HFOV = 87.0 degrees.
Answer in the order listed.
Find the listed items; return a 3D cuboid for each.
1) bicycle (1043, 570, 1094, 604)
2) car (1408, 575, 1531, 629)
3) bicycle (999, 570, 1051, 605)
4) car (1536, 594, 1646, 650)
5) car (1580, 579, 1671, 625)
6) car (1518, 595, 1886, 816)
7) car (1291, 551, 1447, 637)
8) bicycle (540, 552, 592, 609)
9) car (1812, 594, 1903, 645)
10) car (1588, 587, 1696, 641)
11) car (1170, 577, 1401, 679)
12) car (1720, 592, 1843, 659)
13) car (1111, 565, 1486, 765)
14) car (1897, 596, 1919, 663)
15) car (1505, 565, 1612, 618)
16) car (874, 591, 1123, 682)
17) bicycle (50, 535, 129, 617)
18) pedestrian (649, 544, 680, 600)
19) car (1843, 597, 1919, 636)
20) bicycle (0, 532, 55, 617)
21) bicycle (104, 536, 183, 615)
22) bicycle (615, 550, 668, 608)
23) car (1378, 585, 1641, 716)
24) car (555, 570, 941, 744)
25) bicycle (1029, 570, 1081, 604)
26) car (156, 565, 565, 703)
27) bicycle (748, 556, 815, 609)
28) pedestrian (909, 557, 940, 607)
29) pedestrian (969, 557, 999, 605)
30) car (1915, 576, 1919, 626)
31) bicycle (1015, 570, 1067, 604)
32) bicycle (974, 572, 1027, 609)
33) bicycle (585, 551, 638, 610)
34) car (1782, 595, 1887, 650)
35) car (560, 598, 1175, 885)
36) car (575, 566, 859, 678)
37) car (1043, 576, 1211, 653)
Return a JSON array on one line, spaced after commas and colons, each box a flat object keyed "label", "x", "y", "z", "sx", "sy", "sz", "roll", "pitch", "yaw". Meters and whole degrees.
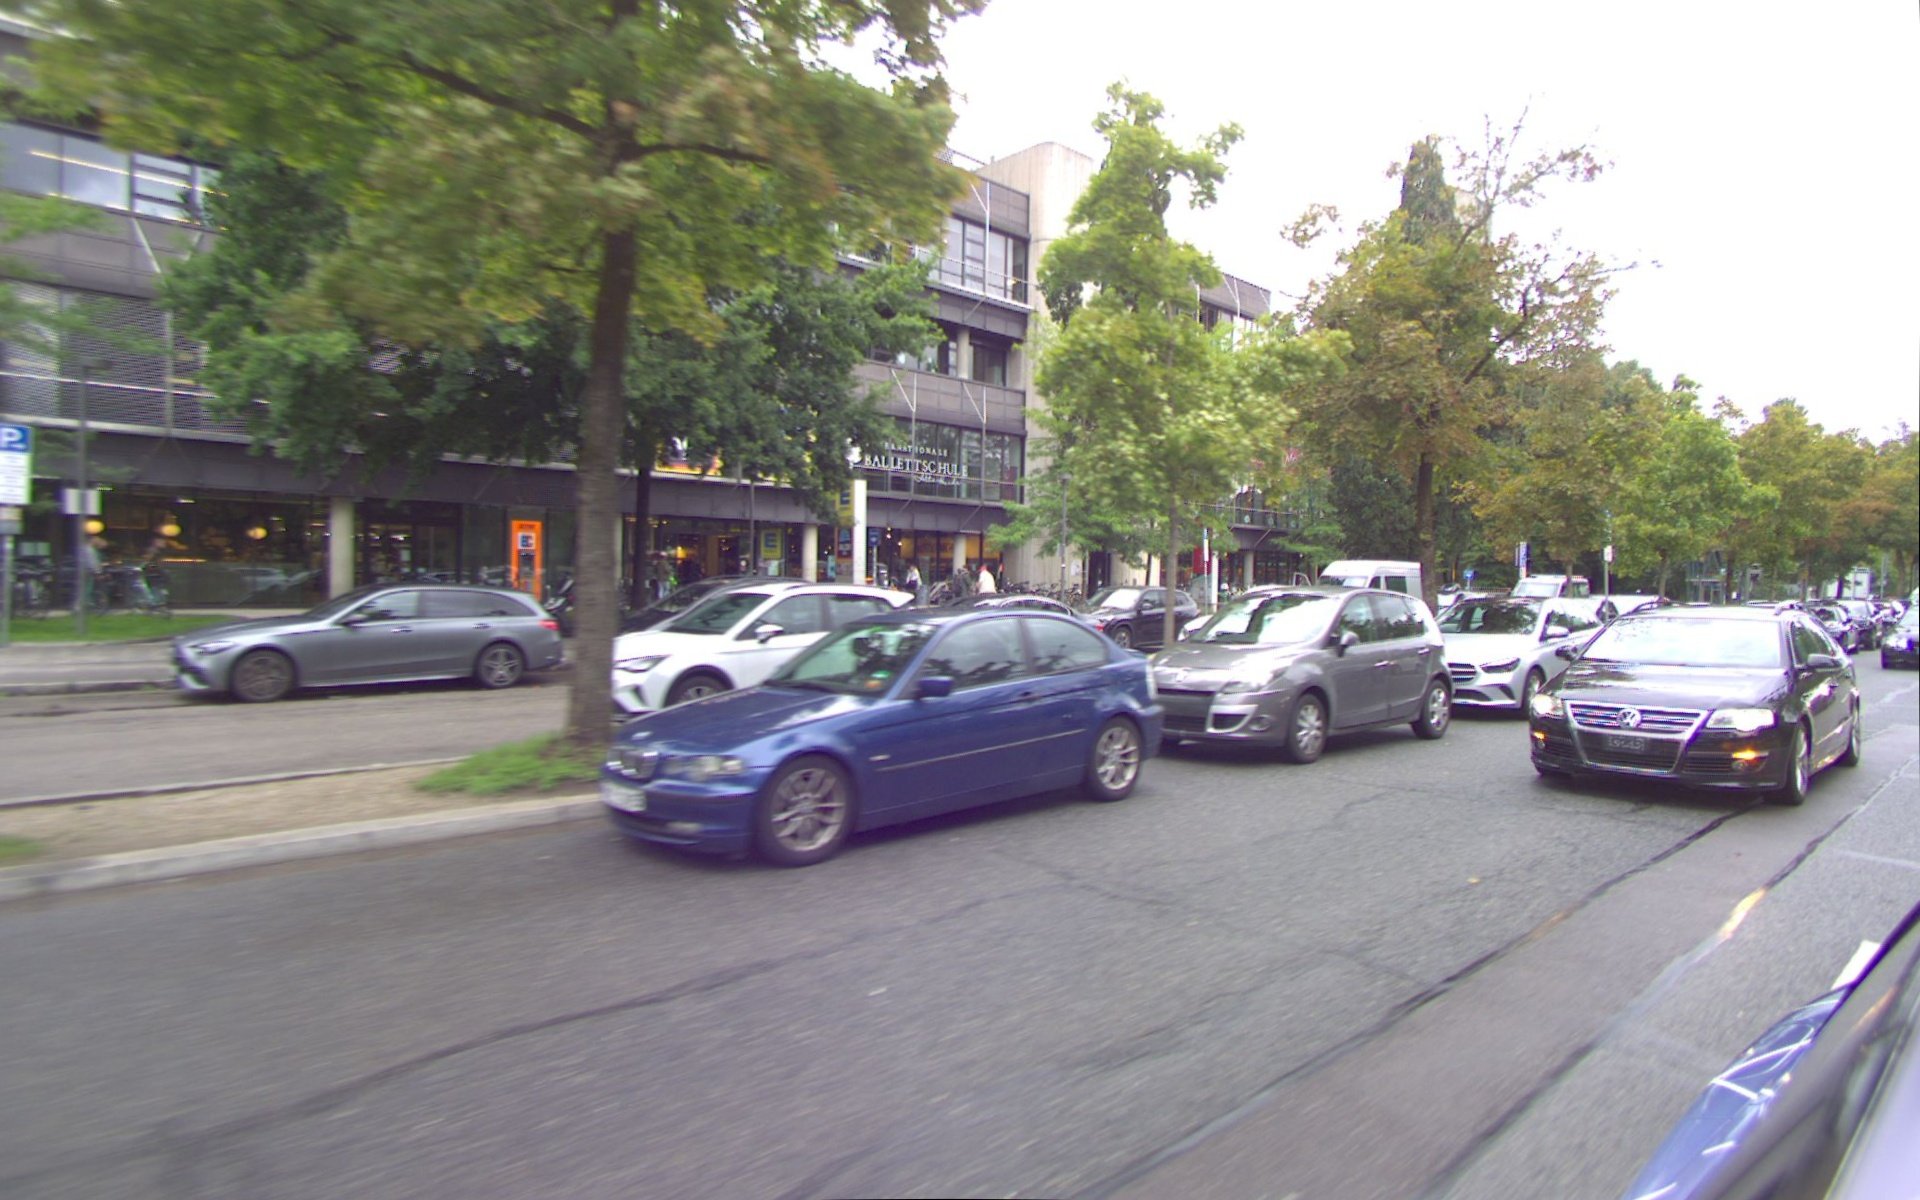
[{"label": "bicycle", "x": 4.409, "y": -0.540, "z": 41.309, "sx": 0.637, "sy": 1.318, "sz": 2.313, "roll": 0, "pitch": 1, "yaw": -39}, {"label": "car", "x": 18.942, "y": 0.057, "z": 37.520, "sx": 5.087, "sy": 1.834, "sz": 2.267, "roll": 0, "pitch": 1, "yaw": -41}, {"label": "bicycle", "x": 2.529, "y": -0.521, "z": 39.673, "sx": 0.637, "sy": 1.318, "sz": 2.313, "roll": 0, "pitch": 1, "yaw": -39}, {"label": "car", "x": 17.557, "y": 0.560, "z": 28.114, "sx": 3.386, "sy": 1.450, "sz": 1.719, "roll": 0, "pitch": 0, "yaw": -41}, {"label": "car", "x": 33.068, "y": 0.057, "z": 50.187, "sx": 5.755, "sy": 2.130, "sz": 2.267, "roll": 0, "pitch": 1, "yaw": -41}, {"label": "car", "x": 6.573, "y": 0.684, "z": 8.766, "sx": 4.366, "sy": 1.450, "sz": 1.733, "roll": 0, "pitch": 0, "yaw": -42}, {"label": "car", "x": 13.287, "y": -0.212, "z": 32.673, "sx": 5.755, "sy": 2.560, "sz": 2.267, "roll": 0, "pitch": 1, "yaw": -41}, {"label": "bicycle", "x": -11.080, "y": -0.565, "z": 28.412, "sx": 0.638, "sy": 1.551, "sz": 2.312, "roll": 0, "pitch": 1, "yaw": -40}, {"label": "car", "x": 29.043, "y": 0.579, "z": 32.715, "sx": 4.366, "sy": 1.535, "sz": 1.733, "roll": 0, "pitch": 0, "yaw": -42}, {"label": "car", "x": 21.233, "y": 0.391, "z": 31.456, "sx": 3.984, "sy": 1.562, "sz": 1.825, "roll": 0, "pitch": 0, "yaw": -41}, {"label": "car", "x": 5.953, "y": 0.432, "z": 18.167, "sx": 4.792, "sy": 1.611, "sz": 1.824, "roll": 0, "pitch": 0, "yaw": -42}, {"label": "car", "x": 20.512, "y": 0.574, "z": 25.208, "sx": 4.366, "sy": 1.526, "sz": 1.733, "roll": 0, "pitch": 0, "yaw": -42}, {"label": "car", "x": 3.657, "y": 0.557, "z": 10.509, "sx": 4.387, "sy": 1.662, "sz": 1.684, "roll": 0, "pitch": -1, "yaw": -41}, {"label": "car", "x": 22.650, "y": 0.633, "z": 22.895, "sx": 4.386, "sy": 1.431, "sz": 1.761, "roll": 0, "pitch": 0, "yaw": -42}, {"label": "car", "x": 25.857, "y": -0.381, "z": 43.629, "sx": 5.755, "sy": 2.130, "sz": 2.267, "roll": 0, "pitch": 1, "yaw": -41}, {"label": "car", "x": 0.753, "y": 0.537, "z": 17.593, "sx": 4.274, "sy": 1.397, "sz": 1.725, "roll": 0, "pitch": 0, "yaw": -40}, {"label": "bicycle", "x": -18.270, "y": -0.525, "z": 21.223, "sx": 2.298, "sy": 1.643, "sz": 0.642, "roll": 2, "pitch": 1, "yaw": 33}, {"label": "pedestrian", "x": -9.934, "y": -0.939, "z": 34.013, "sx": 0.720, "sy": 1.826, "sz": 0.664, "roll": 3, "pitch": 3, "yaw": 18}, {"label": "car", "x": 34.005, "y": 0.570, "z": 37.303, "sx": 4.029, "sy": 1.379, "sz": 1.733, "roll": 0, "pitch": 0, "yaw": -42}, {"label": "bicycle", "x": -19.040, "y": -0.520, "z": 20.369, "sx": 2.298, "sy": 1.643, "sz": 0.642, "roll": 2, "pitch": 1, "yaw": 33}, {"label": "bicycle", "x": -17.574, "y": -0.540, "z": 21.761, "sx": 2.298, "sy": 1.643, "sz": 0.642, "roll": 2, "pitch": 1, "yaw": 33}, {"label": "bicycle", "x": -9.338, "y": -0.633, "z": 29.621, "sx": 0.638, "sy": 1.643, "sz": 2.312, "roll": 0, "pitch": 1, "yaw": -40}, {"label": "car", "x": 7.685, "y": 0.604, "z": 13.975, "sx": 4.386, "sy": 1.542, "sz": 1.685, "roll": 0, "pitch": -1, "yaw": -40}, {"label": "car", "x": -2.152, "y": 0.499, "z": 10.928, "sx": 3.813, "sy": 1.538, "sz": 1.651, "roll": 0, "pitch": 0, "yaw": -44}, {"label": "bicycle", "x": 3.829, "y": -0.530, "z": 40.818, "sx": 0.637, "sy": 1.318, "sz": 2.313, "roll": 0, "pitch": 1, "yaw": -39}, {"label": "car", "x": -8.047, "y": 0.389, "z": 13.906, "sx": 4.527, "sy": 1.550, "sz": 1.823, "roll": 1, "pitch": 2, "yaw": -45}, {"label": "bicycle", "x": -5.820, "y": -0.581, "z": 32.933, "sx": 2.298, "sy": 1.643, "sz": 0.642, "roll": 2, "pitch": 1, "yaw": 33}, {"label": "pedestrian", "x": -1.262, "y": -0.648, "z": 35.711, "sx": 0.856, "sy": 1.719, "sz": 0.772, "roll": 0, "pitch": 2, "yaw": -26}, {"label": "pedestrian", "x": 0.852, "y": -0.700, "z": 36.817, "sx": 0.755, "sy": 1.719, "sz": 0.876, "roll": 0, "pitch": 2, "yaw": -26}, {"label": "car", "x": 54.505, "y": 0.040, "z": 54.154, "sx": 5.880, "sy": 2.691, "sz": 1.983, "roll": 0, "pitch": 0, "yaw": -13}, {"label": "bicycle", "x": 3.208, "y": -0.522, "z": 40.260, "sx": 0.664, "sy": 1.318, "sz": 2.313, "roll": 0, "pitch": 1, "yaw": -39}, {"label": "bicycle", "x": 1.536, "y": -0.372, "z": 38.934, "sx": 0.637, "sy": 1.365, "sz": 2.313, "roll": 0, "pitch": 1, "yaw": -39}, {"label": "bicycle", "x": -10.022, "y": -0.575, "z": 29.057, "sx": 0.638, "sy": 1.643, "sz": 2.312, "roll": 0, "pitch": 1, "yaw": -40}, {"label": "car", "x": 24.989, "y": 0.587, "z": 28.870, "sx": 4.366, "sy": 1.450, "sz": 1.733, "roll": 0, "pitch": 0, "yaw": -42}, {"label": "car", "x": -0.414, "y": 0.685, "z": 6.924, "sx": 4.011, "sy": 1.392, "sz": 1.684, "roll": 0, "pitch": 0, "yaw": -42}, {"label": "car", "x": -4.078, "y": 0.302, "z": 17.450, "sx": 4.423, "sy": 1.654, "sz": 1.825, "roll": 0, "pitch": 2, "yaw": -42}, {"label": "car", "x": 4.141, "y": 0.295, "z": 24.627, "sx": 4.270, "sy": 1.654, "sz": 1.861, "roll": 0, "pitch": 2, "yaw": -45}]
